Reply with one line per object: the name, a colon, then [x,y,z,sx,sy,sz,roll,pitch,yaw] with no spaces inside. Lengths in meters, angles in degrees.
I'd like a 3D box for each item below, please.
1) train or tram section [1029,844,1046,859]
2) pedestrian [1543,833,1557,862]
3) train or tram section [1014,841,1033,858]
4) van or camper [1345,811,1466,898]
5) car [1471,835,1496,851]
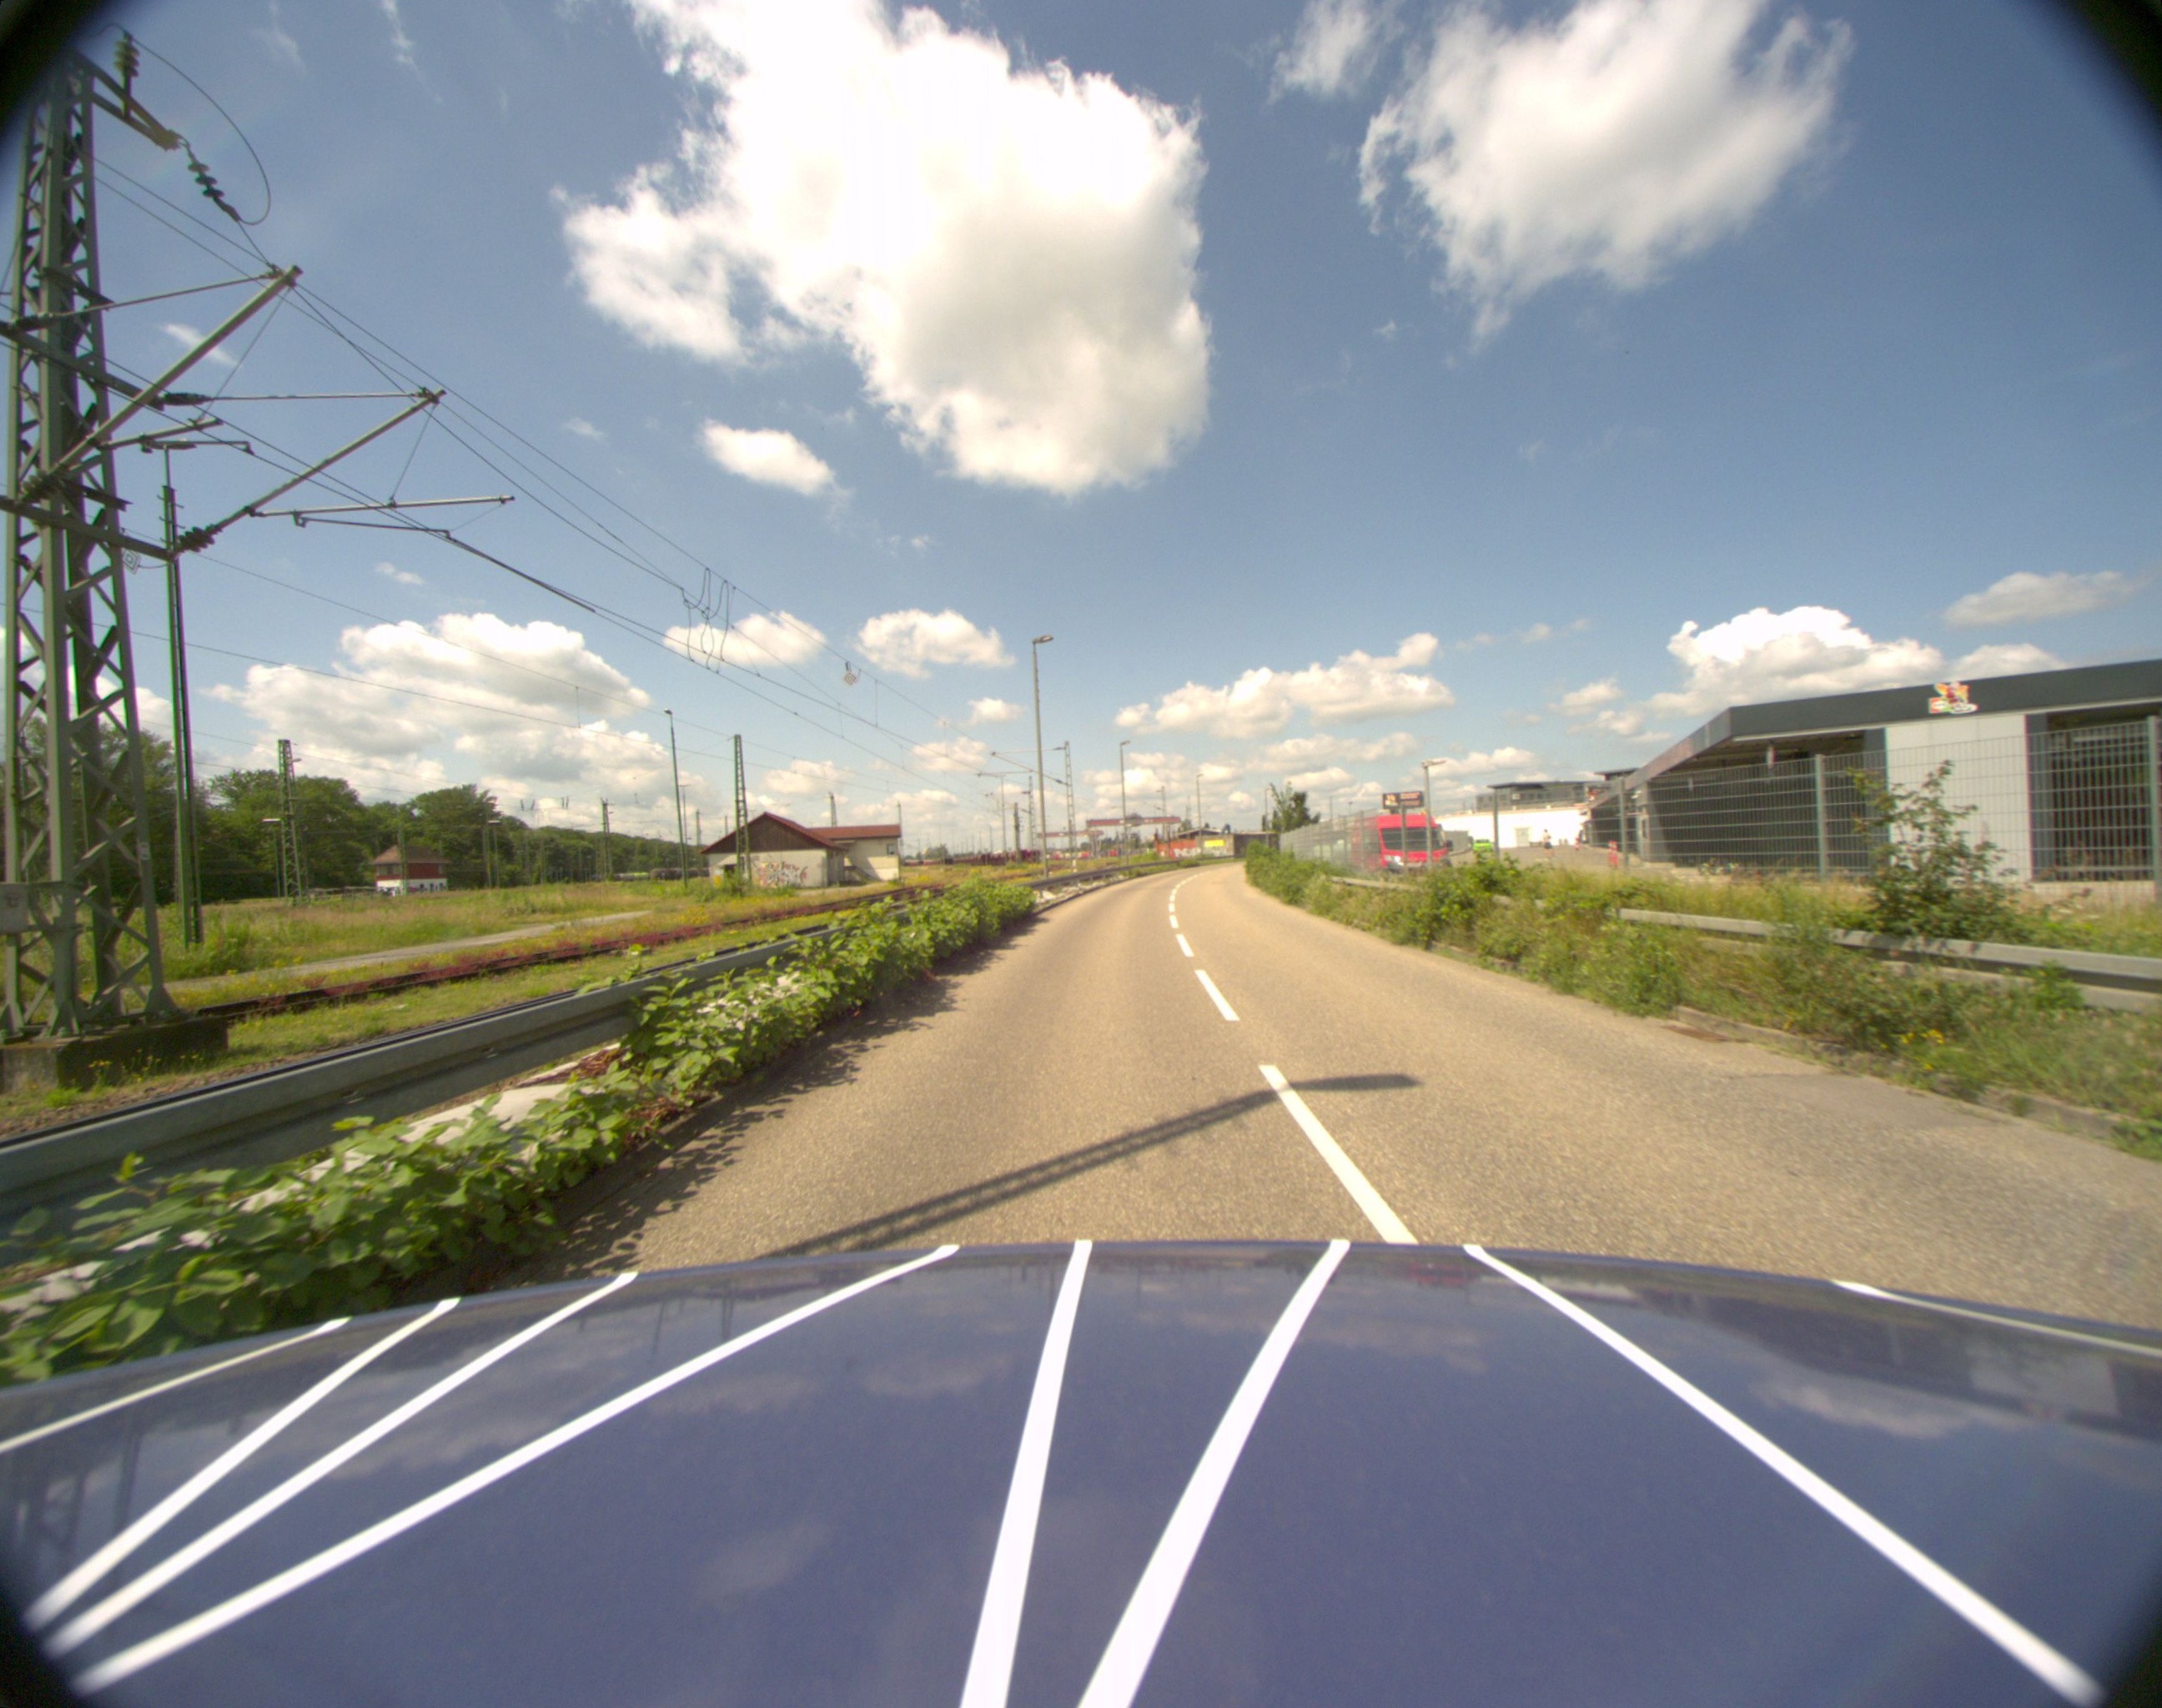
train or tram section: [-11.436,-0.514,199.101,3.205,3.695,12.543,-3,0,-8]
pedestrian: [28.883,-0.425,46.777,0.693,1.739,0.746,-2,1,31]
train or tram section: [-13.306,-1.002,175.464,3.302,3.695,12.543,-3,0,-8]
van or camper: [10.342,0.004,24.766,2.192,2.499,5.705,0,0,8]
car: [41.758,-1.187,78.707,1.917,1.473,4.307,-3,0,32]
